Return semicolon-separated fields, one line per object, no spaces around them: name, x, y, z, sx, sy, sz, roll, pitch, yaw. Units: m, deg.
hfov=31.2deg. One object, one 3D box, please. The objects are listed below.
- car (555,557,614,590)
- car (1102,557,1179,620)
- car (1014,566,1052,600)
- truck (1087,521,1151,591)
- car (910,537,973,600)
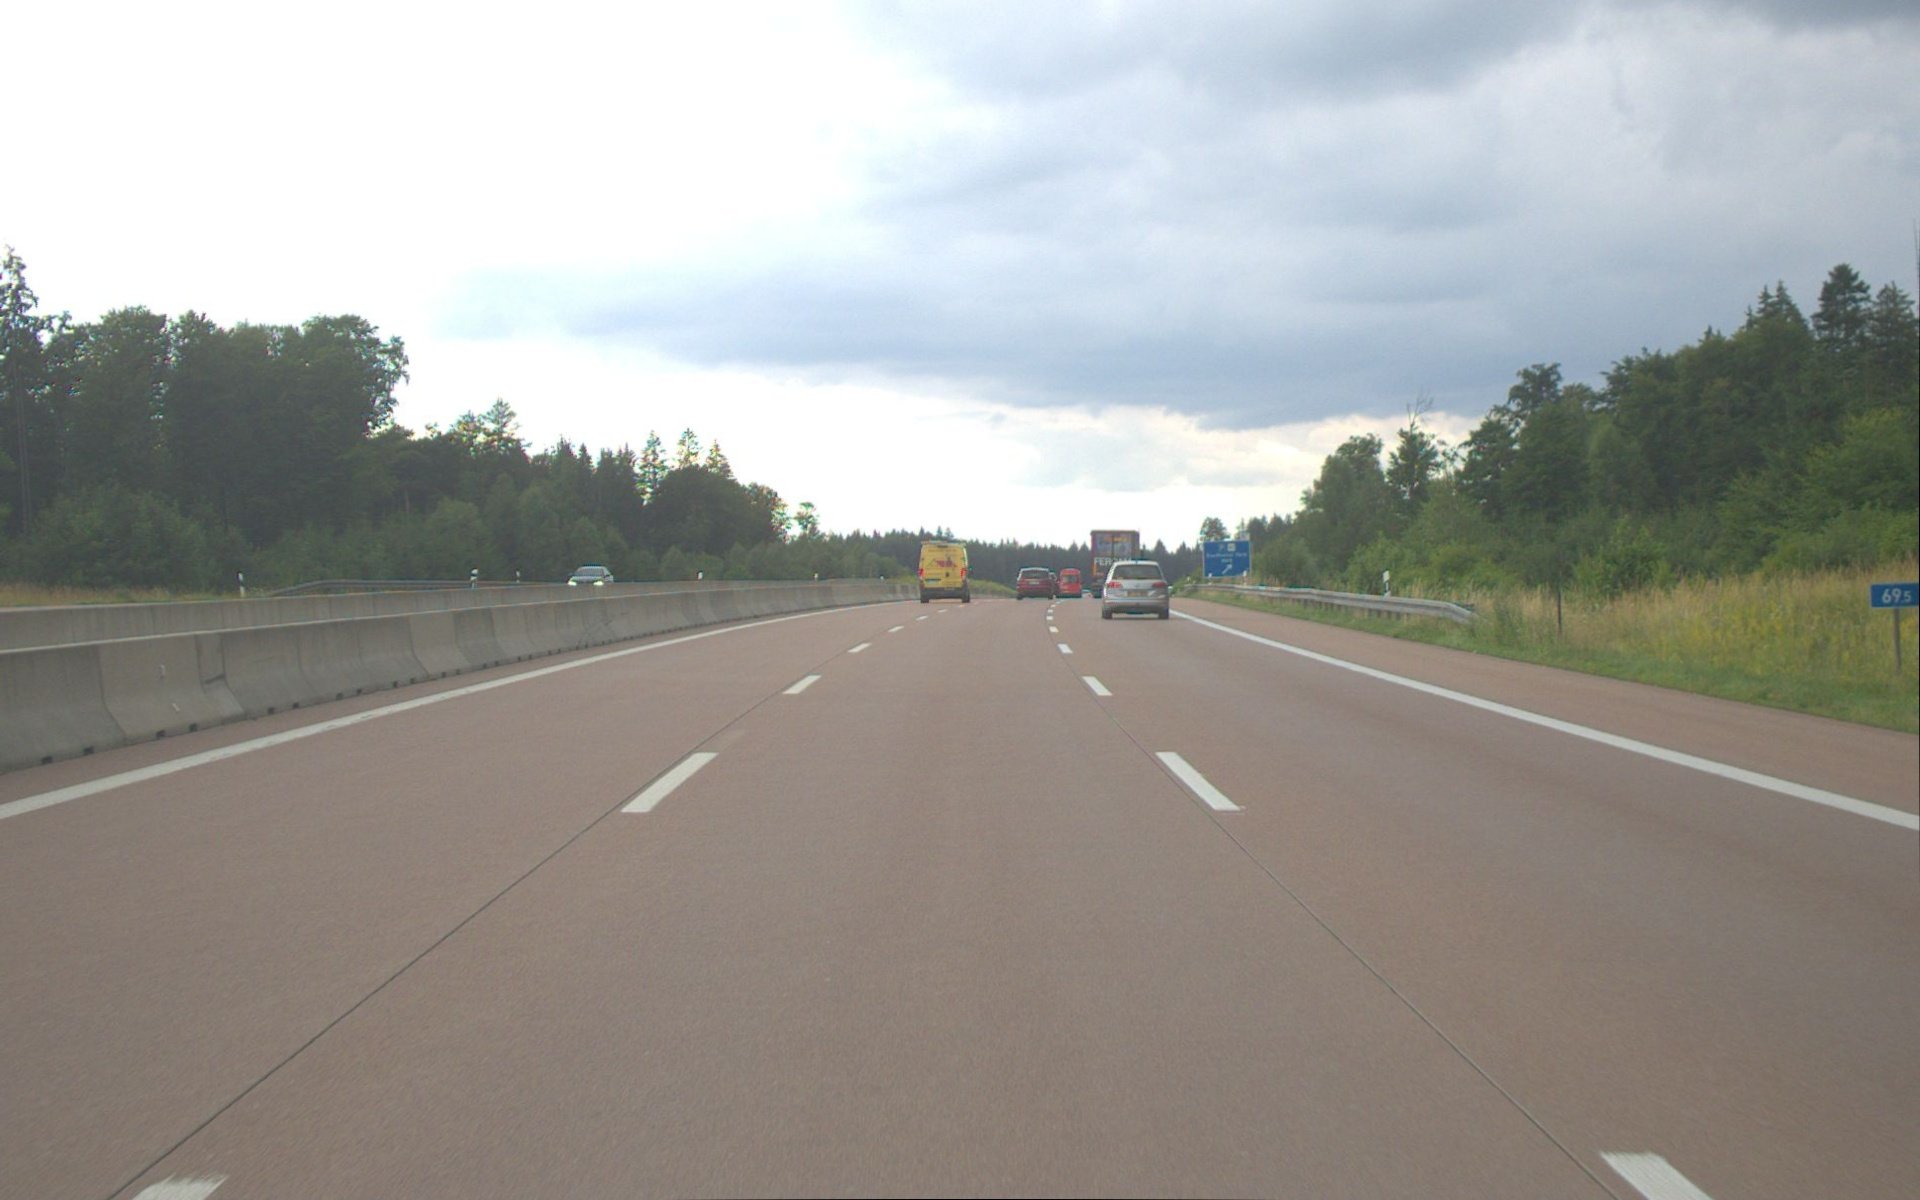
car;-18.220;-1.302;166.966;2.217;1.561;4.849;0;0;2
car;4.870;-0.334;93.095;1.978;1.642;4.619;1;1;2
car;3.786;-0.889;177.934;1.887;1.758;4.782;0;0;2
truck;9.631;-2.585;206.758;3.681;3.899;12.815;1;0;3
car;-0.792;-1.377;150.556;2.459;2.697;5.613;0;0;3
